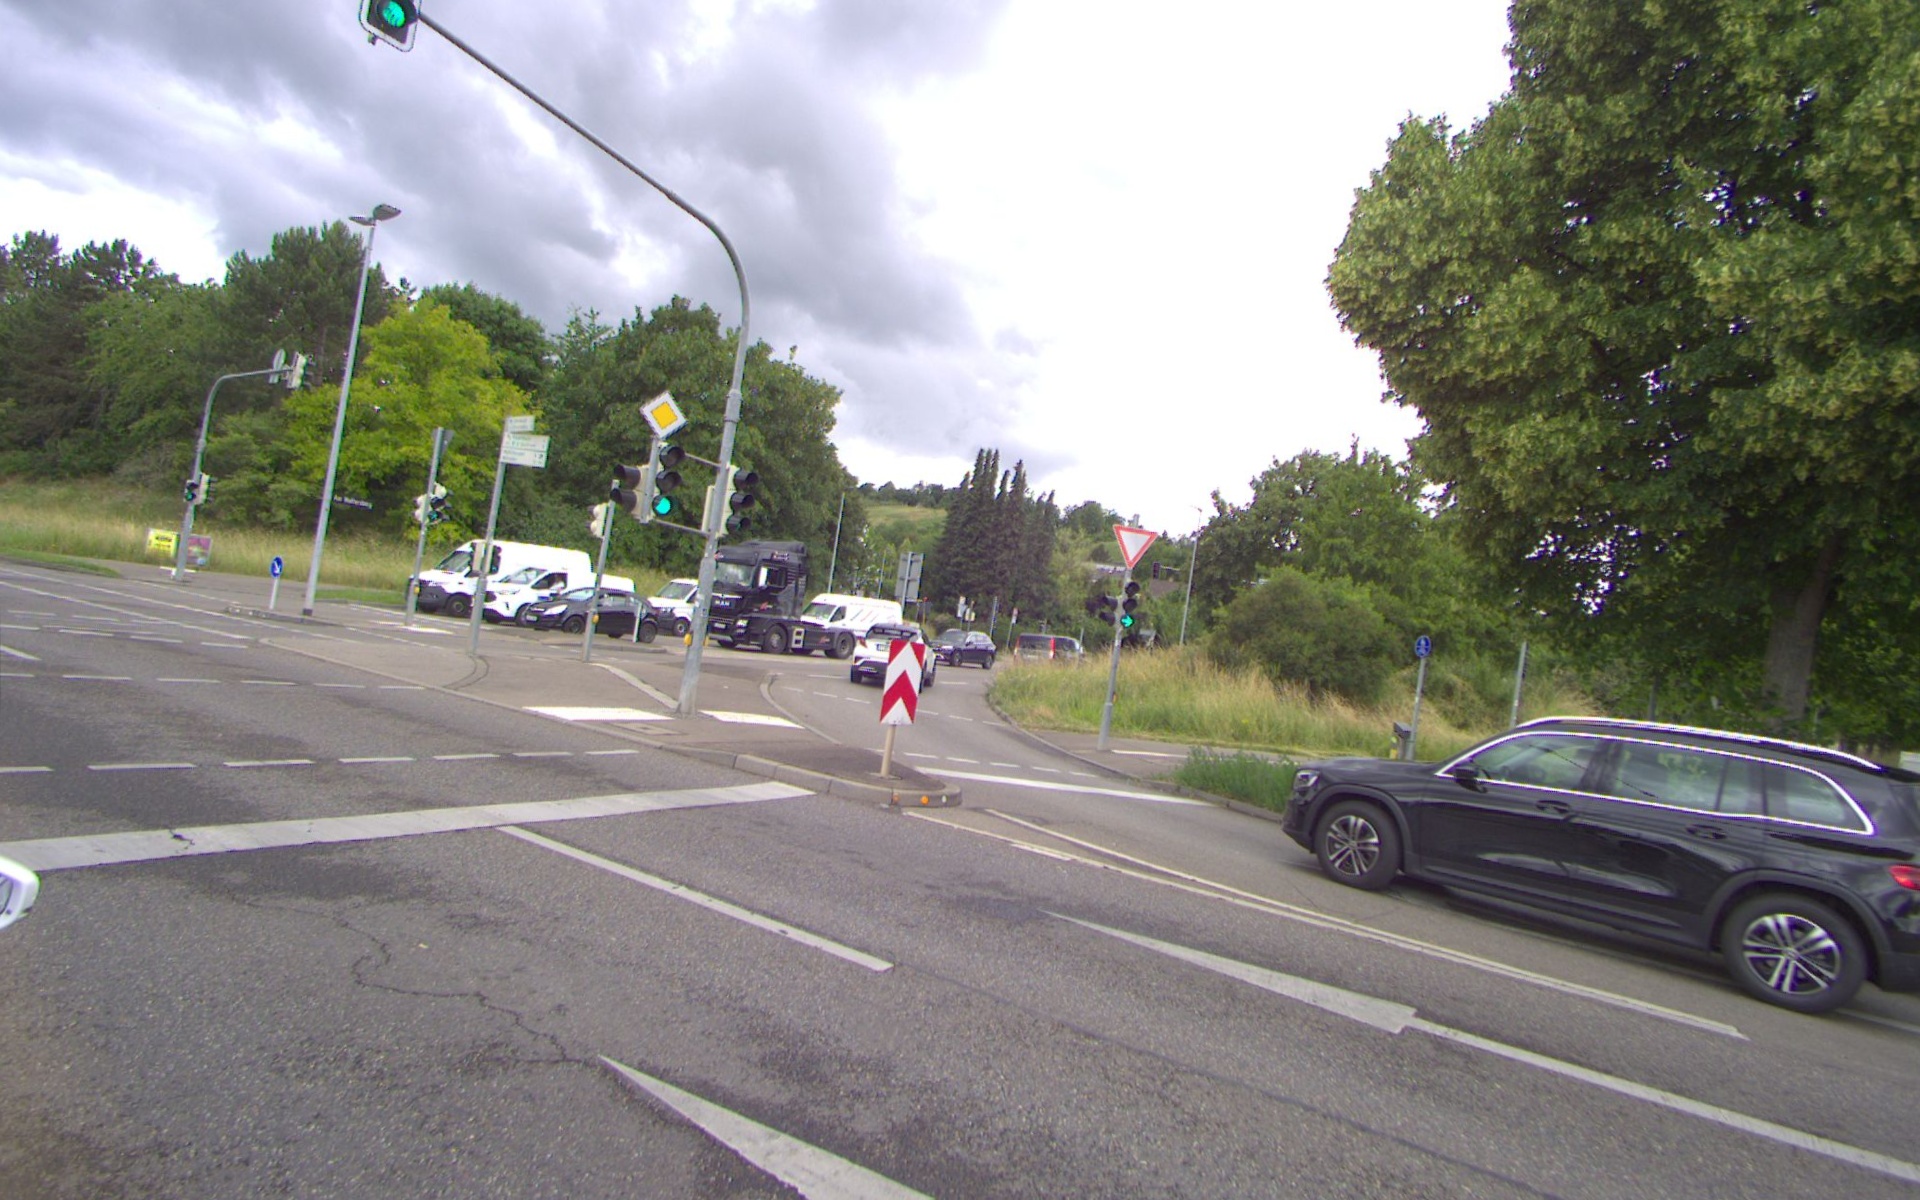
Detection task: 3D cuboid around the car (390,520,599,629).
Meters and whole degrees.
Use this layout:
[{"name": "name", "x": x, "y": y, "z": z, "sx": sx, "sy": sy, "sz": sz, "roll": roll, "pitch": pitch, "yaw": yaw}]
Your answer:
[{"name": "car", "x": -15.333, "y": -0.738, "z": 33.595, "sx": 2.100, "sy": 2.814, "sz": 5.903, "roll": 7, "pitch": -1, "yaw": 32}]

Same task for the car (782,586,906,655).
[{"name": "car", "x": -5.508, "y": 1.077, "z": 48.870, "sx": 2.160, "sy": 2.640, "sz": 6.509, "roll": 7, "pitch": -1, "yaw": 32}]

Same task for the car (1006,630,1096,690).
[{"name": "car", "x": 3.917, "y": 2.569, "z": 42.368, "sx": 1.889, "sy": 1.852, "sz": 4.726, "roll": 8, "pitch": -5, "yaw": 28}]

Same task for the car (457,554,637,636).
[{"name": "car", "x": -12.930, "y": -0.097, "z": 31.813, "sx": 1.999, "sy": 1.918, "sz": 4.862, "roll": 7, "pitch": -1, "yaw": 31}]

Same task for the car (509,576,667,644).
[{"name": "car", "x": -10.603, "y": 0.333, "z": 28.927, "sx": 1.703, "sy": 1.453, "sz": 3.927, "roll": 7, "pitch": -1, "yaw": 31}]

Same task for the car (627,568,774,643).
[{"name": "car", "x": -10.423, "y": 0.288, "z": 40.902, "sx": 2.100, "sy": 2.316, "sz": 5.709, "roll": 7, "pitch": -1, "yaw": 32}]

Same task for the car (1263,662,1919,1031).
[{"name": "car", "x": 4.899, "y": 1.683, "z": 7.852, "sx": 4.368, "sy": 1.666, "sz": 1.781, "roll": 6, "pitch": -5, "yaw": 44}]

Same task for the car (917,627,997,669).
[{"name": "car", "x": -0.087, "y": 2.186, "z": 45.312, "sx": 1.703, "sy": 1.453, "sz": 3.927, "roll": 7, "pitch": -1, "yaw": 31}]

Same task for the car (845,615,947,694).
[{"name": "car", "x": -1.526, "y": 1.347, "z": 25.550, "sx": 1.753, "sy": 1.552, "sz": 4.309, "roll": 9, "pitch": -1, "yaw": 5}]

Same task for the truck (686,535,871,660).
[{"name": "truck", "x": -6.209, "y": 0.022, "z": 35.338, "sx": 2.682, "sy": 3.580, "sz": 6.061, "roll": 7, "pitch": -1, "yaw": 32}]
